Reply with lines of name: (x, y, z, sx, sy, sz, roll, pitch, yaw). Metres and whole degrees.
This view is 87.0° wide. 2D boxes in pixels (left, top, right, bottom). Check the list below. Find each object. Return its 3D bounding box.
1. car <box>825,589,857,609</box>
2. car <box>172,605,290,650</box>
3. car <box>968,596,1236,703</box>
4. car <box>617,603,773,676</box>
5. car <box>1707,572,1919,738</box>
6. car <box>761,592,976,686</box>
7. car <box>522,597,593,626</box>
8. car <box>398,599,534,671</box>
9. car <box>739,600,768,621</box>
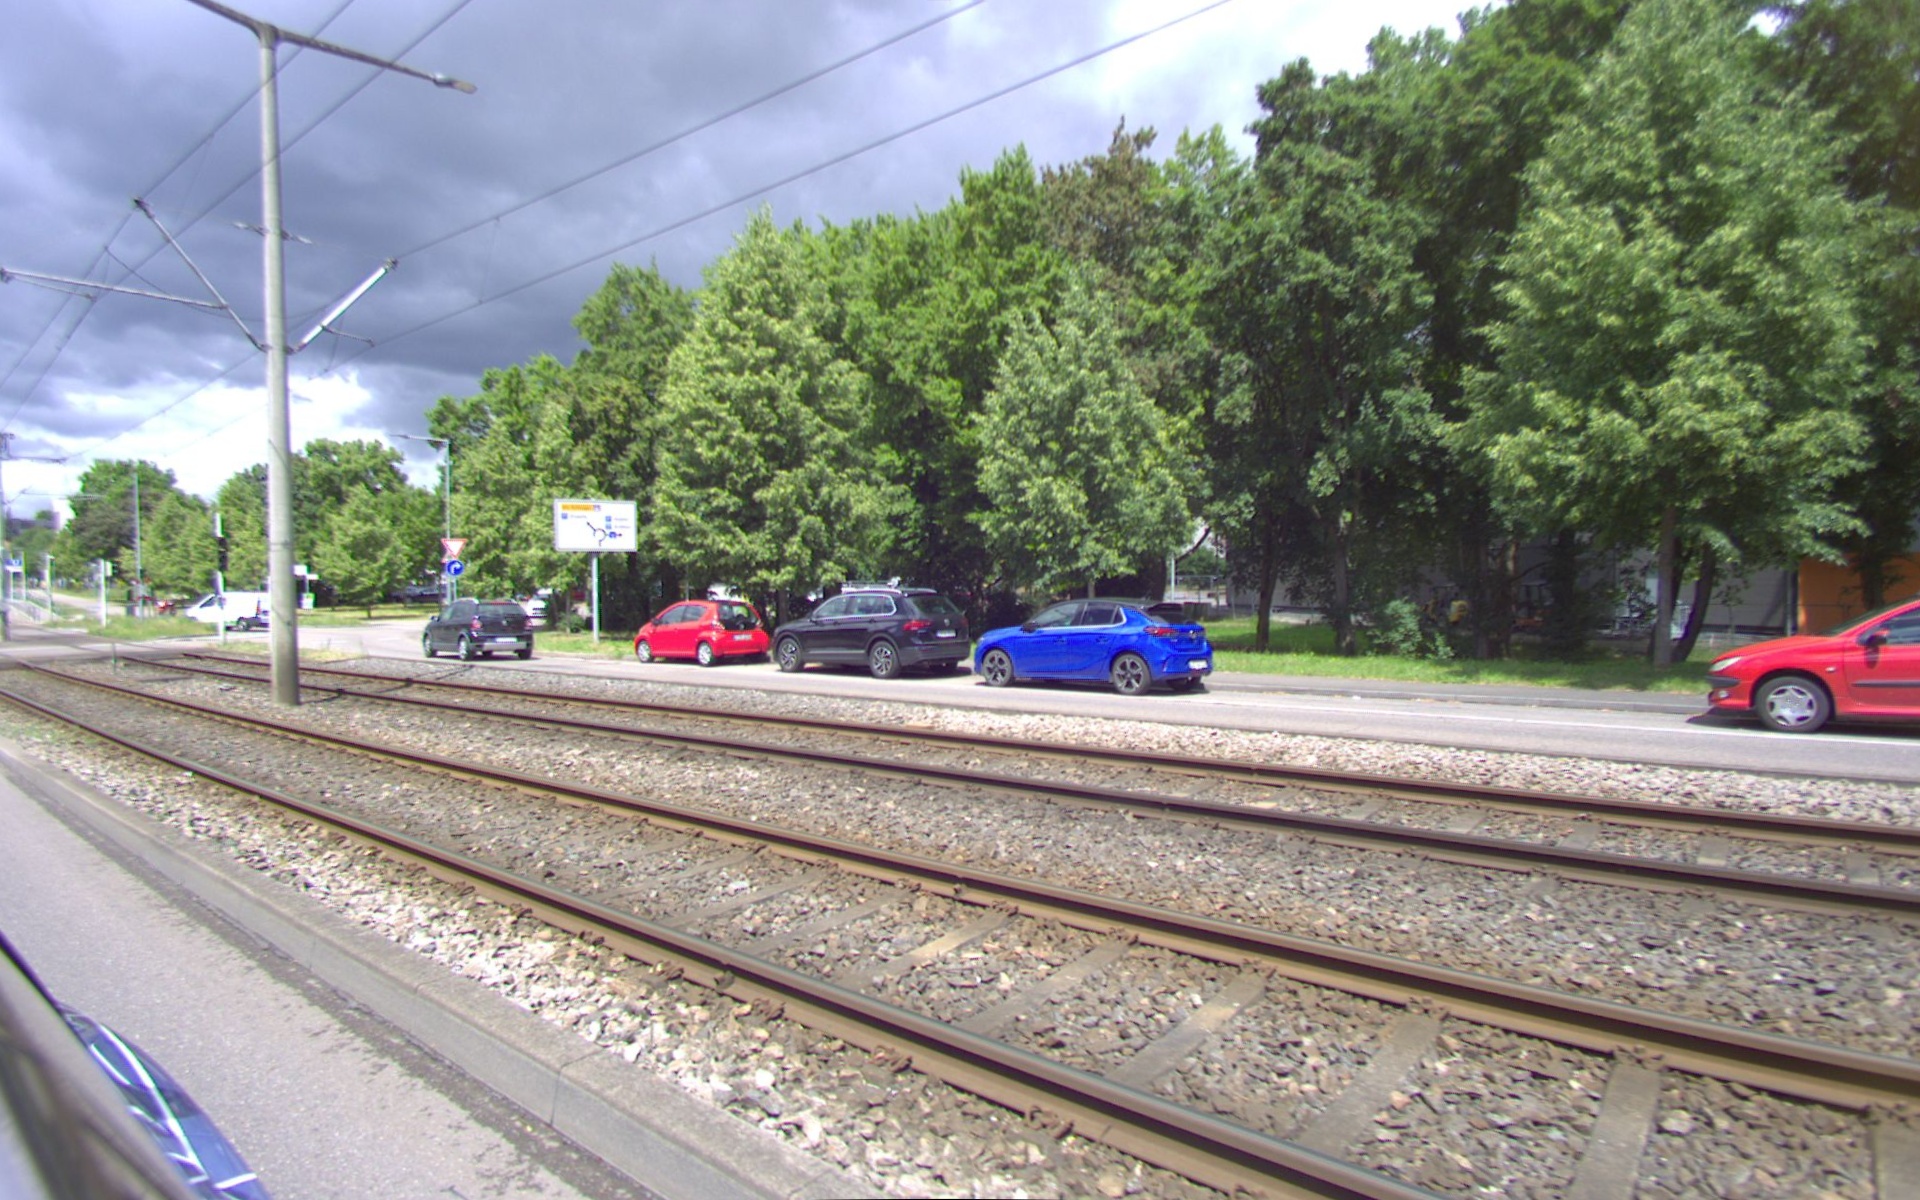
car: (-9.597, -0.077, 81.378, 1.728, 1.430, 4.013, -2, 2, -18)
car: (-35.515, 1.314, 49.334, 5.189, 2.033, 1.871, 0, 2, 17)
car: (2.138, 0.723, 15.938, 4.007, 1.472, 1.595, -1, -2, 43)
car: (-6.184, 0.855, 23.466, 3.657, 1.462, 1.598, 1, 3, 38)
car: (9.636, 0.473, 9.499, 4.047, 1.505, 1.596, -2, 0, 43)
car: (-1.863, 0.713, 19.506, 4.373, 1.617, 1.563, -1, -1, 42)
car: (-26.780, 0.714, 67.393, 1.734, 1.702, 4.312, 0, 2, 27)
car: (-12.558, 0.825, 25.633, 3.998, 1.585, 1.597, 1, 3, 41)
car: (-16.241, 0.803, 79.575, 1.728, 1.430, 4.013, -2, 2, -18)
